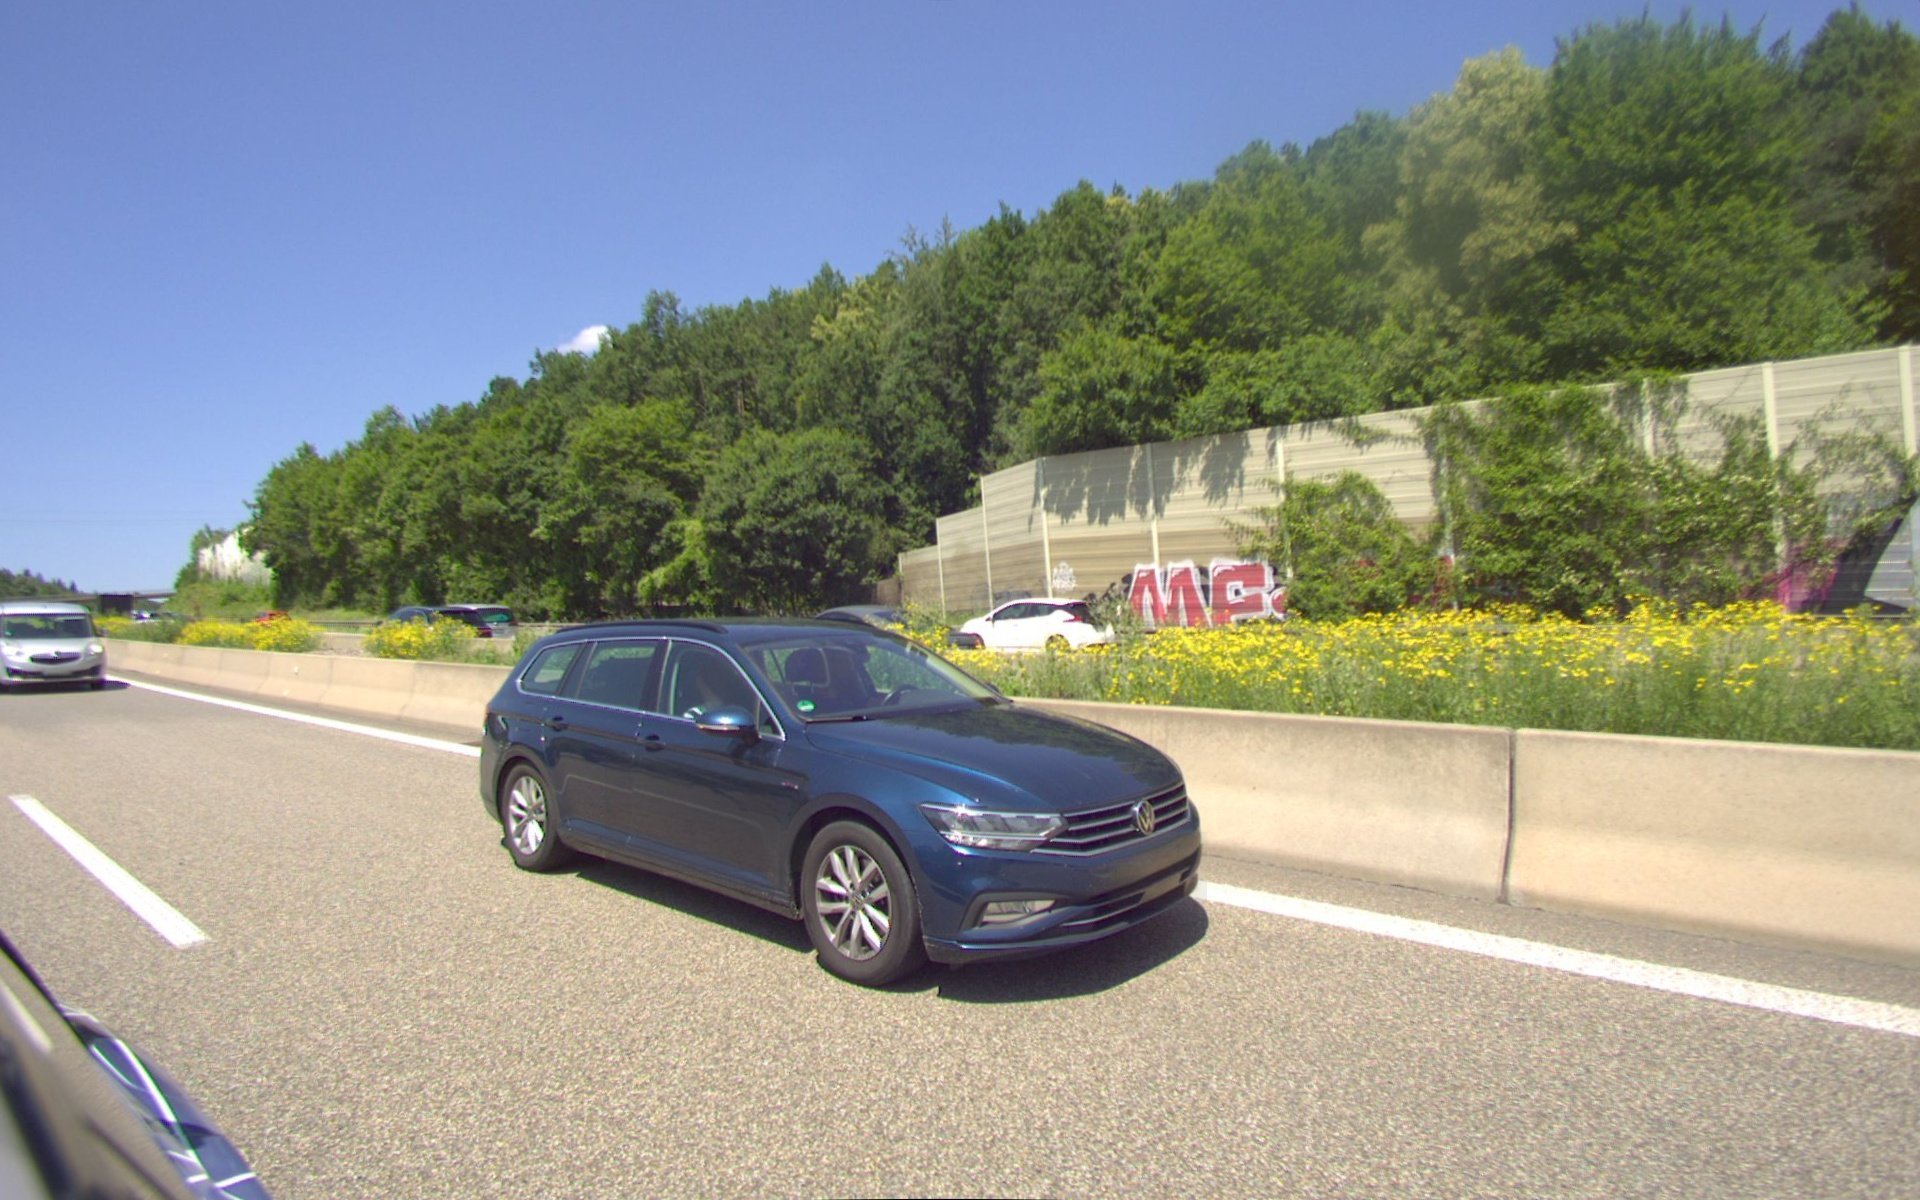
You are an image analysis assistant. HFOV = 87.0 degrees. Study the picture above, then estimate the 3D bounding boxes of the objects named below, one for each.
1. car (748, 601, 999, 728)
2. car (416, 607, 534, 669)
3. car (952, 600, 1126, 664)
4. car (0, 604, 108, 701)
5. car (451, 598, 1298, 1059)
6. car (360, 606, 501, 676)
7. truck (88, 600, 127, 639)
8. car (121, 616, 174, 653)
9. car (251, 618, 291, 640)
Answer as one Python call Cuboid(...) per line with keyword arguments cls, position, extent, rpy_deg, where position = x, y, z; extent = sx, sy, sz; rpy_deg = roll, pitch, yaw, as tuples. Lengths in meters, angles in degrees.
Cuboid(cls="car", position=(-1.366, 0.864, 15.147), extent=(3.710, 1.663, 1.625), rpy_deg=(-1, -1, 41))
Cuboid(cls="car", position=(-16.239, 1.224, 33.783), extent=(4.504, 1.913, 1.972), rpy_deg=(-1, -1, 42))
Cuboid(cls="car", position=(1.946, 0.795, 25.780), extent=(4.311, 1.493, 1.613), rpy_deg=(-2, -1, 42))
Cuboid(cls="car", position=(-19.424, 1.045, 21.301), extent=(3.999, 1.858, 1.757), rpy_deg=(-2, -1, 42))
Cuboid(cls="car", position=(-0.848, 0.764, 5.399), extent=(4.728, 1.438, 1.714), rpy_deg=(-2, -1, 42))
Cuboid(cls="car", position=(-13.896, 1.027, 26.415), extent=(4.688, 1.635, 1.705), rpy_deg=(-1, -1, 41))
Cuboid(cls="truck", position=(-80.256, 1.853, 95.213), extent=(6.024, 3.532, 1.972), rpy_deg=(-2, -1, 42))
Cuboid(cls="car", position=(-41.882, 1.767, 52.131), extent=(3.884, 1.784, 1.516), rpy_deg=(-2, -1, 42))
Cuboid(cls="car", position=(-53.824, 2.234, 79.036), extent=(3.999, 1.647, 1.709), rpy_deg=(-1, -1, 42))
